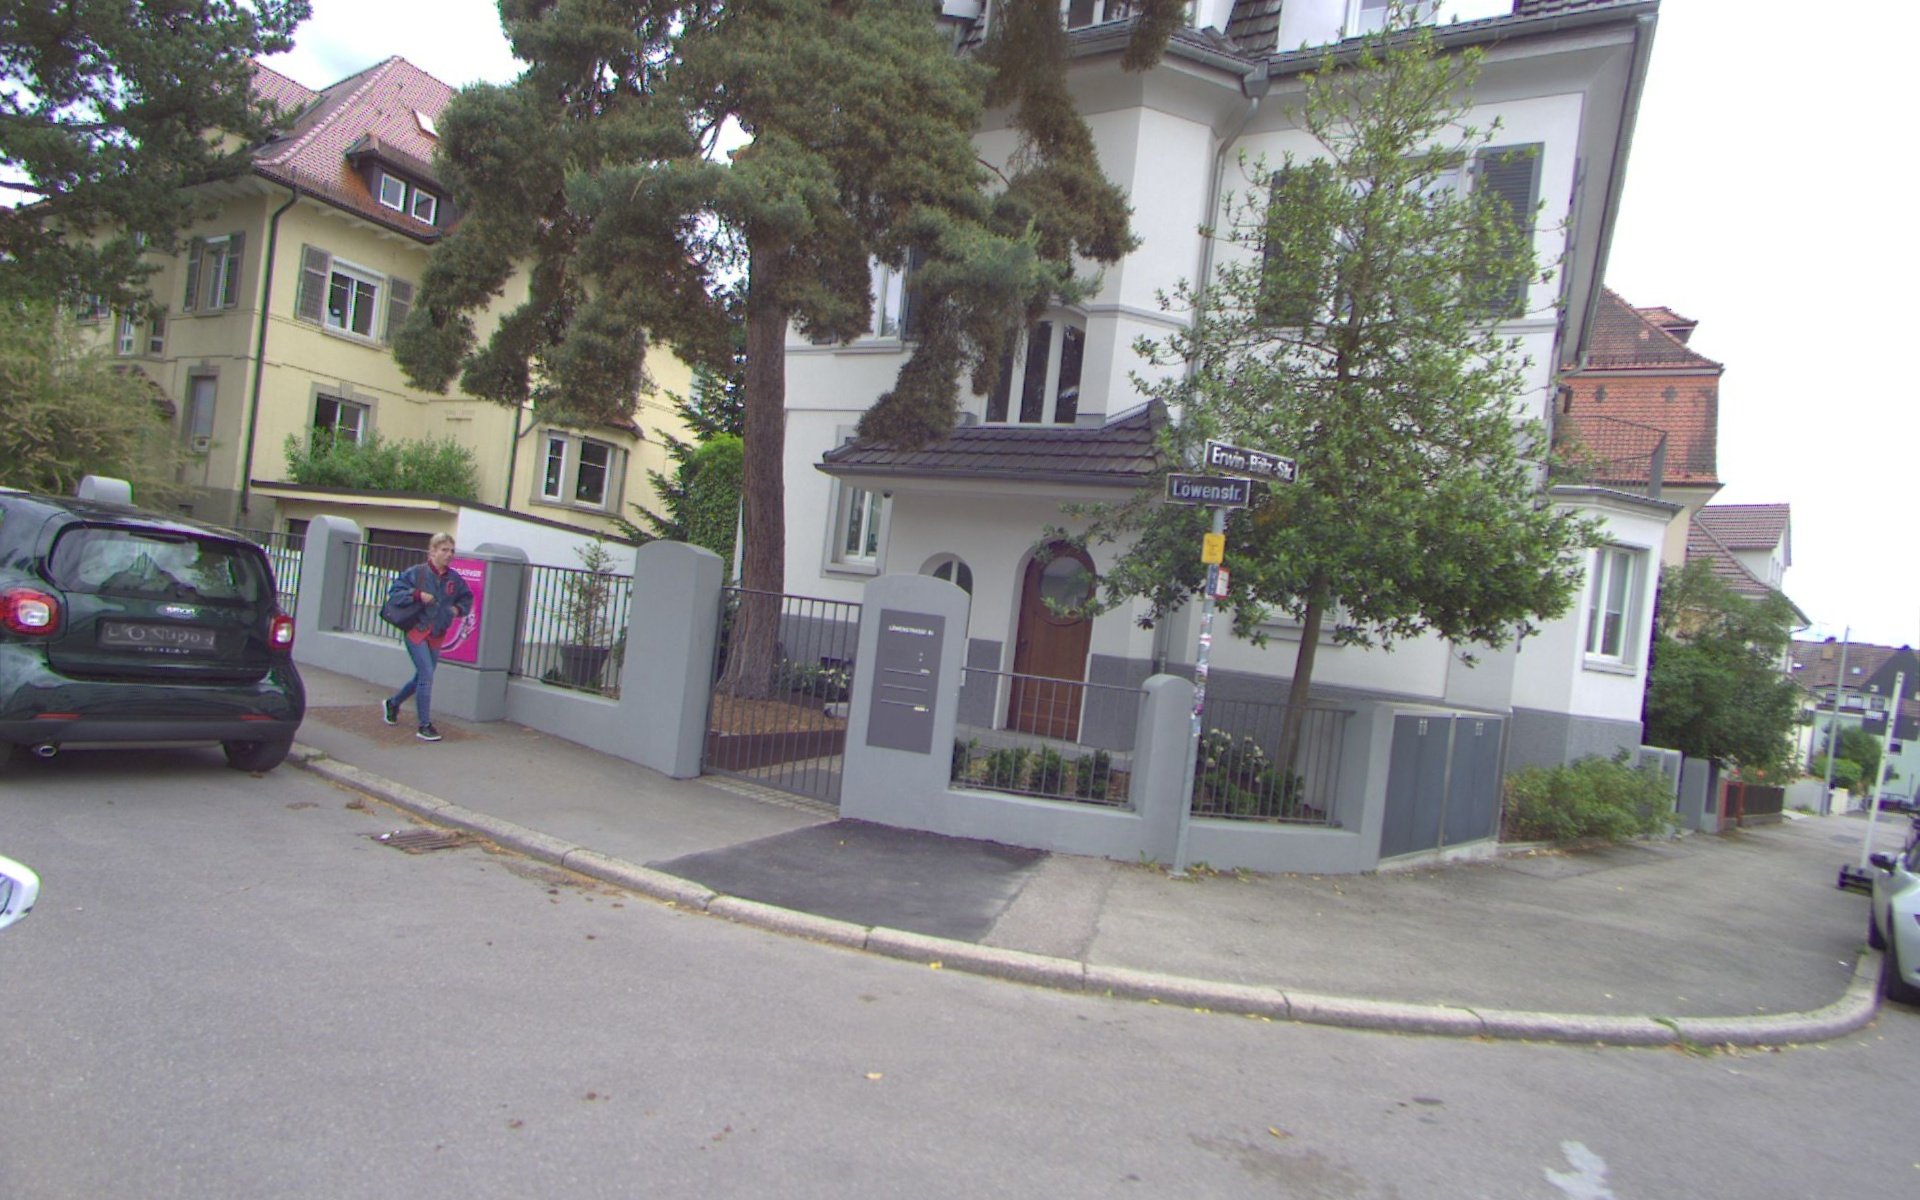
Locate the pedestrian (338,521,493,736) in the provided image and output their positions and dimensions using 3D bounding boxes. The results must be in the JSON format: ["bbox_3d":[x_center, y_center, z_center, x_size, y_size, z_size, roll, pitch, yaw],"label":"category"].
[{"bbox_3d":[-4.407,0.219,8.140,0.892,1.597,0.680,7,2,36],"label":"pedestrian"}]

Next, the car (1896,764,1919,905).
[{"bbox_3d":[15.350,3.562,15.047,1.868,1.912,4.497,2,-6,43],"label":"car"}]

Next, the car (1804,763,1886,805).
[{"bbox_3d":[62.012,12.866,70.569,3.939,2.040,1.798,7,2,37],"label":"car"}]

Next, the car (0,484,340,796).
[{"bbox_3d":[-5.683,0.125,6.371,2.817,1.548,1.578,9,-3,27],"label":"car"}]

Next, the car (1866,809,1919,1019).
[{"bbox_3d":[8.004,2.387,7.512,1.648,1.274,3.469,4,-5,40],"label":"car"}]
